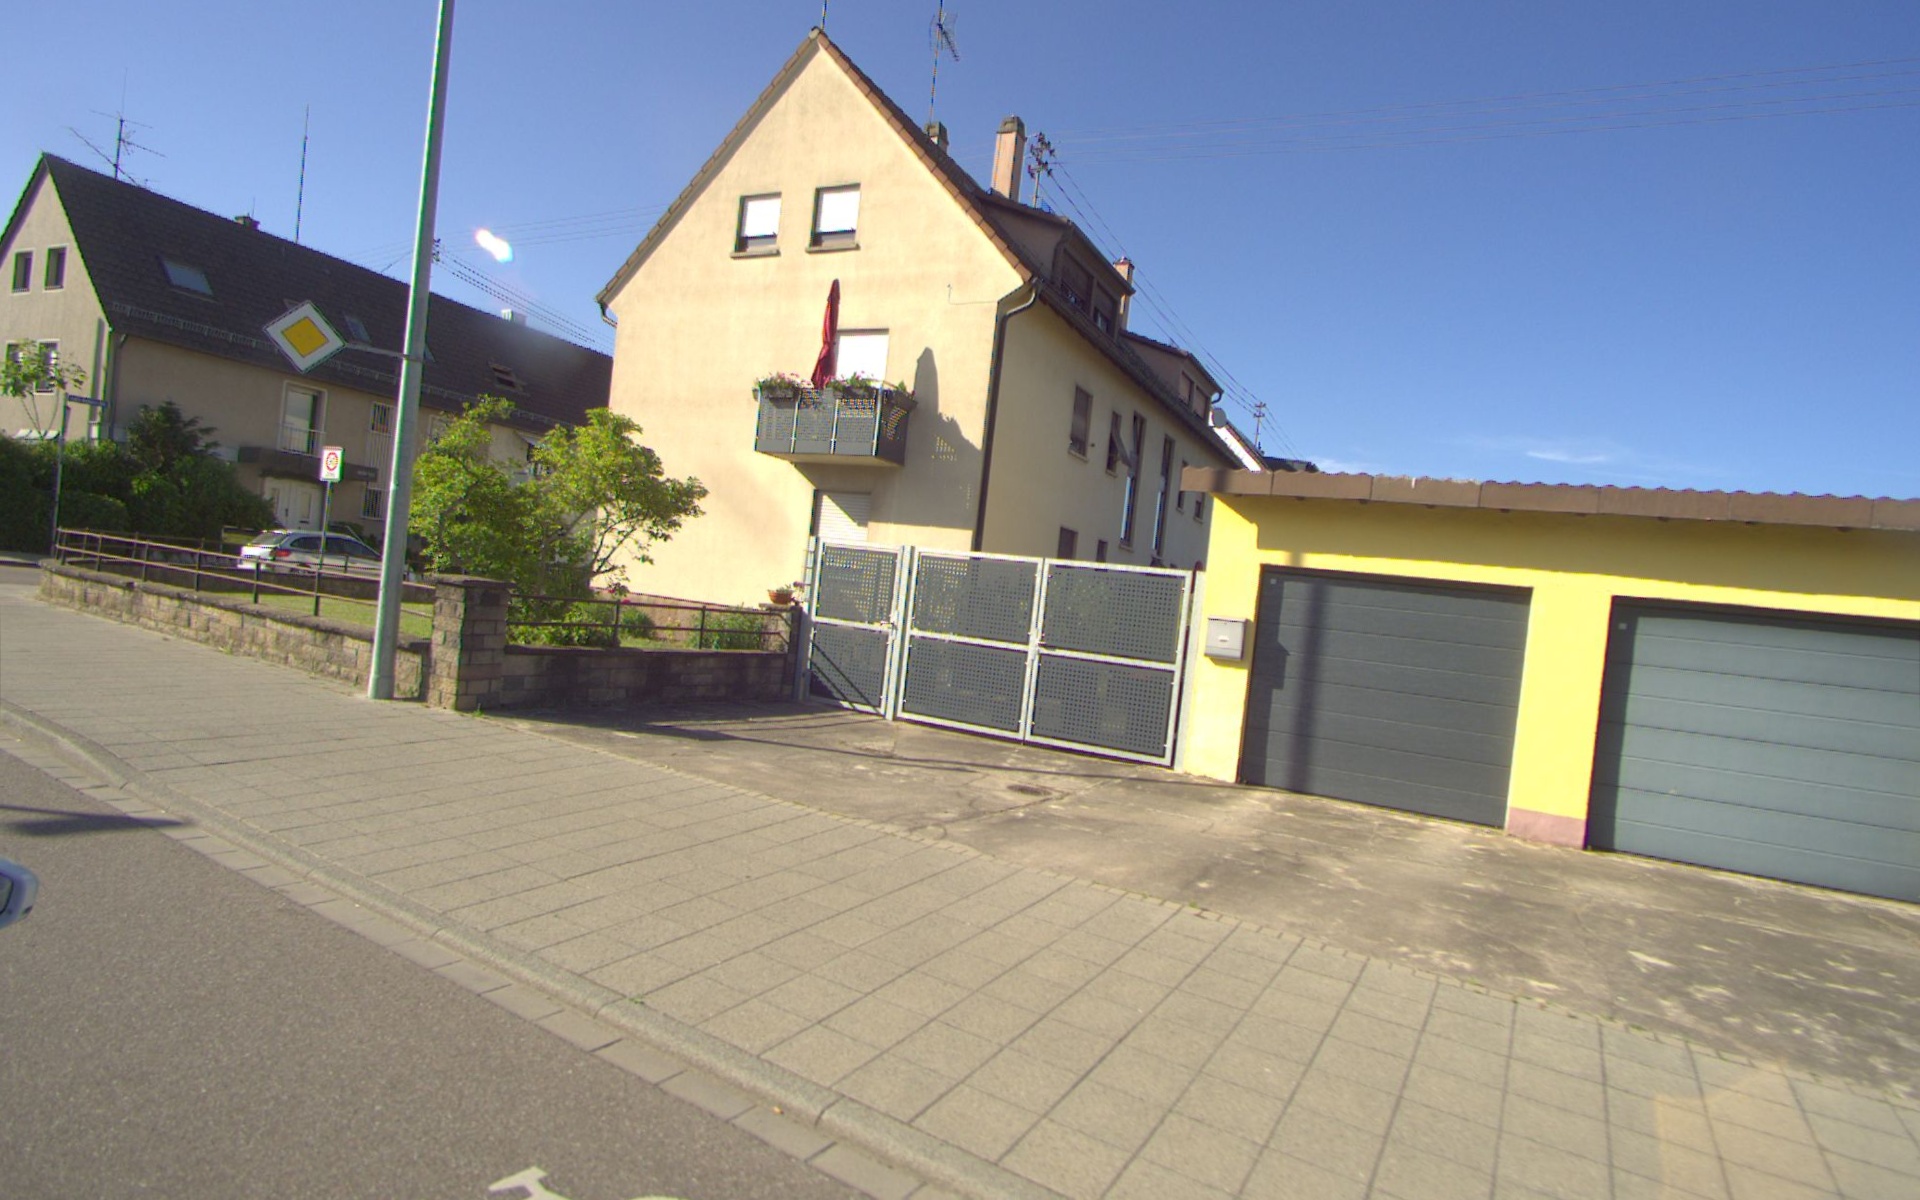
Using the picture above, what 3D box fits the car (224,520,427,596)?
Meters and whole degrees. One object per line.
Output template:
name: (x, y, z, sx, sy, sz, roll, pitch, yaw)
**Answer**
car: (-16.535, -1.042, 26.456, 1.770, 1.530, 4.148, 5, -1, 26)
